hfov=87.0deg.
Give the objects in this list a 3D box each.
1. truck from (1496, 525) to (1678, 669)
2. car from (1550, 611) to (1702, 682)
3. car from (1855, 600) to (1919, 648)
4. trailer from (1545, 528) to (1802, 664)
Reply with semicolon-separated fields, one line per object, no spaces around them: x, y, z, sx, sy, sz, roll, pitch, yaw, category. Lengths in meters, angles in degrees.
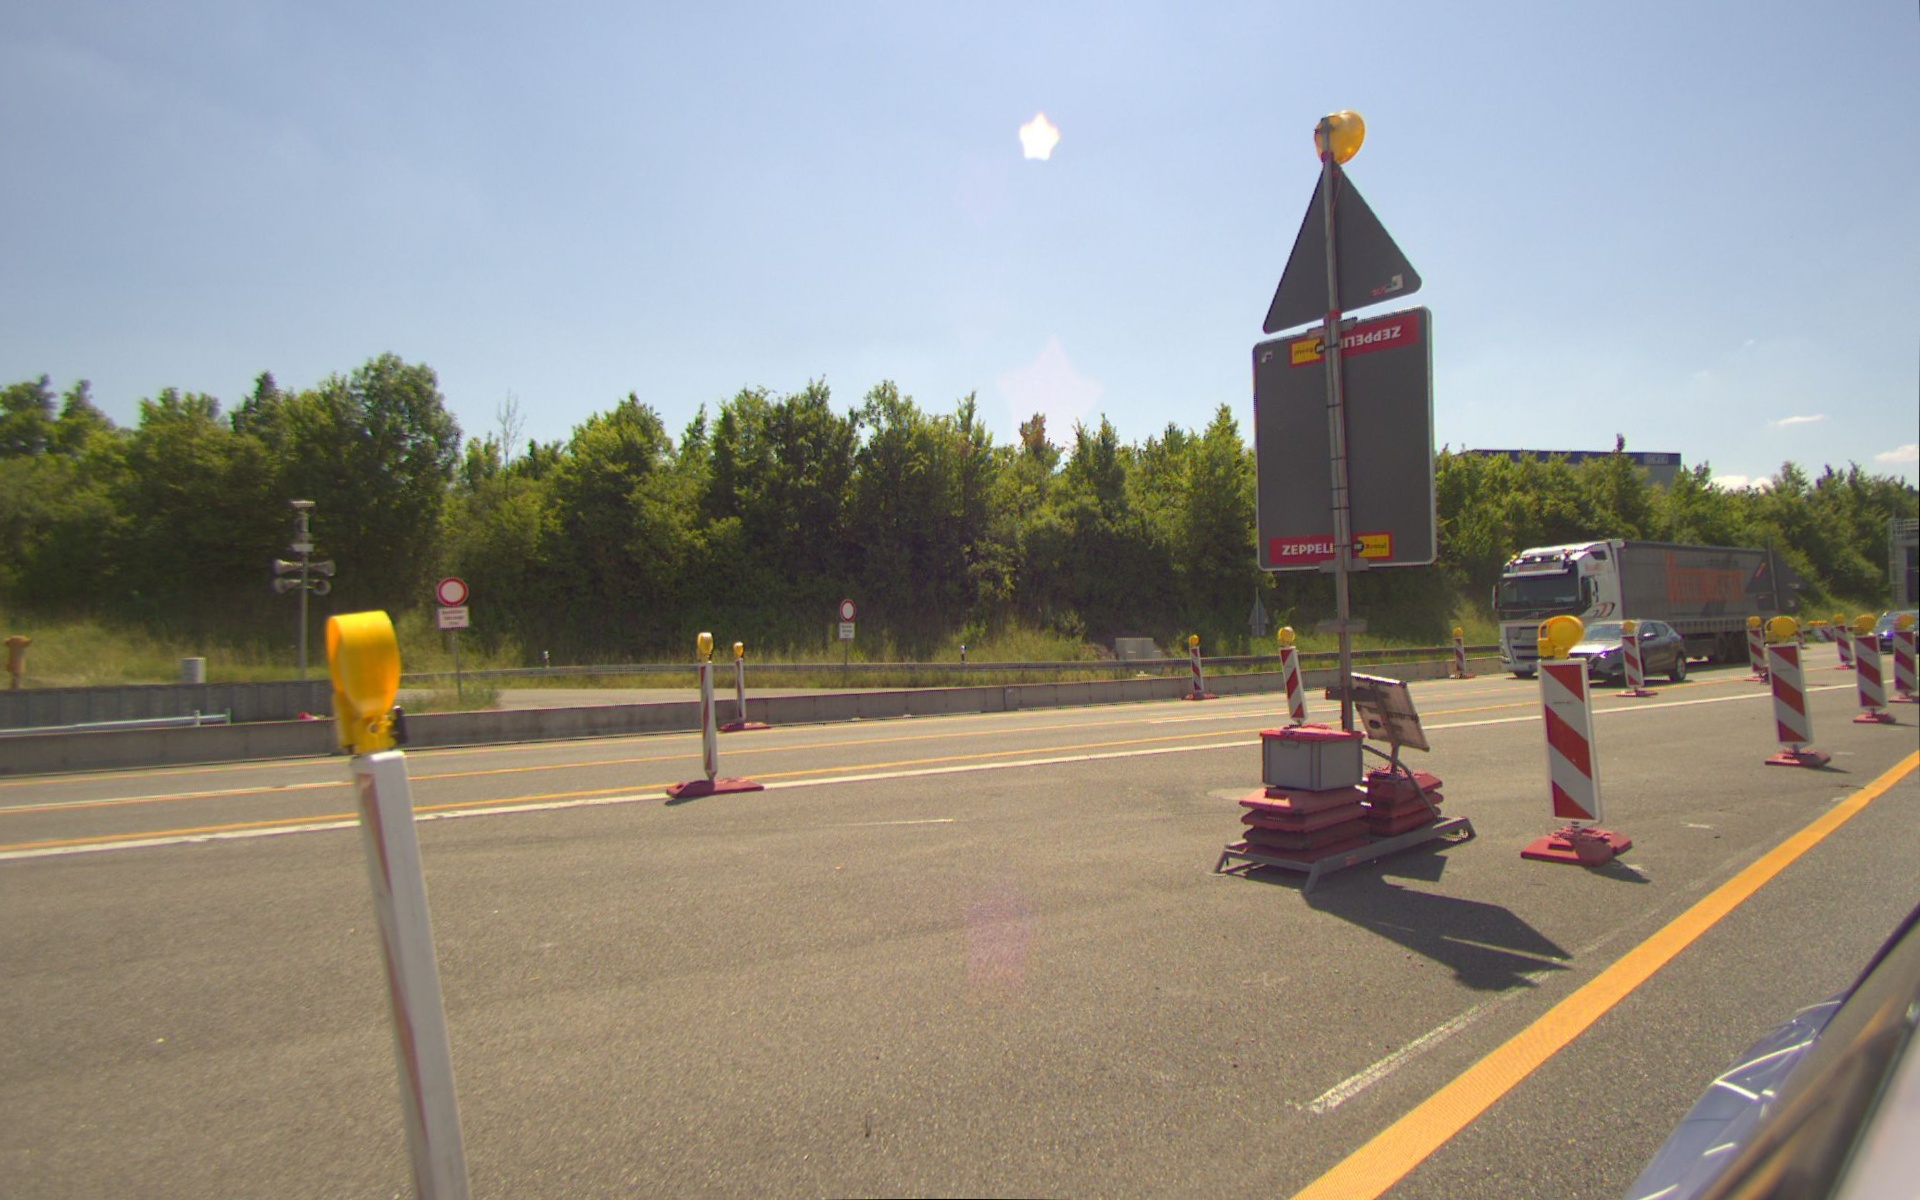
19.154;-0.030;30.856;5.492;4.003;2.534;0;-4;-35;truck
16.632;1.138;25.218;3.954;1.573;1.710;-1;-3;-34;car
37.351;0.907;39.951;4.407;1.718;1.820;-1;-3;-33;car
24.978;-0.088;34.947;13.605;4.005;2.547;0;-4;-35;trailer
